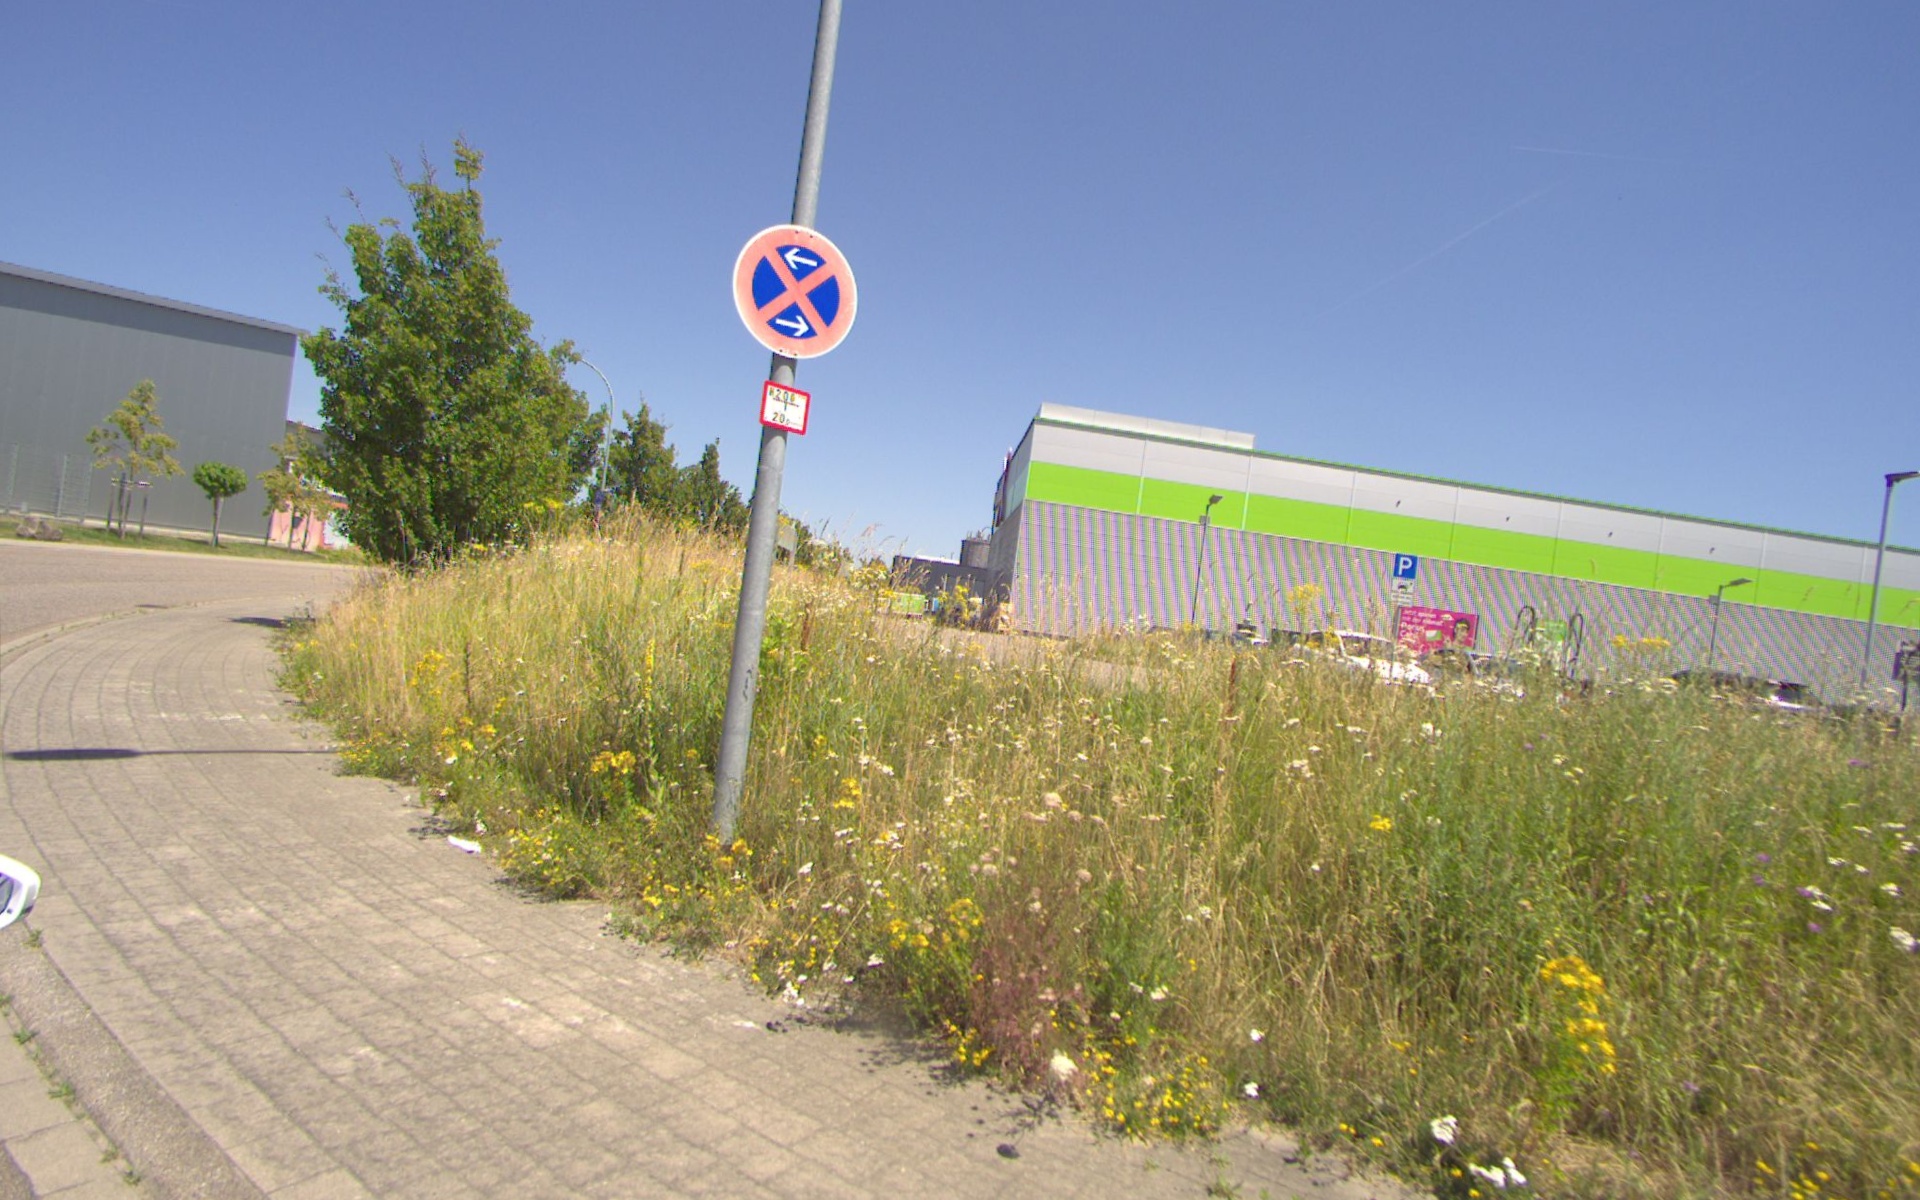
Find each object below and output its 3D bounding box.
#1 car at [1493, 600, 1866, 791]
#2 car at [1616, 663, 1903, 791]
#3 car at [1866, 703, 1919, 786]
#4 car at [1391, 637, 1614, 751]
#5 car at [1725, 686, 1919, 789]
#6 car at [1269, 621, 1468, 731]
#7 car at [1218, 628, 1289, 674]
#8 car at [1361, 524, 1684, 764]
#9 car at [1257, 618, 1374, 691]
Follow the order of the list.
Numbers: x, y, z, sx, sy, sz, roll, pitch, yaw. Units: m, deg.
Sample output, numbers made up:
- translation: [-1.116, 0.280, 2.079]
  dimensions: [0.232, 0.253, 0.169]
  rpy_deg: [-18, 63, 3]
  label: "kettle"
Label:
- translation: [10.205, 1.243, 14.817]
  dimensions: [1.919, 2.170, 4.400]
  rpy_deg: [7, -1, -4]
  label: "car"
- translation: [15.741, 2.408, 20.199]
  dimensions: [1.964, 1.889, 4.401]
  rpy_deg: [7, -1, -2]
  label: "car"
- translation: [22.995, 3.450, 22.088]
  dimensions: [1.964, 1.807, 4.401]
  rpy_deg: [7, -1, -2]
  label: "car"
- translation: [10.948, 1.822, 20.748]
  dimensions: [1.904, 1.807, 4.401]
  rpy_deg: [7, -1, -2]
  label: "car"
- translation: [20.297, 3.122, 22.998]
  dimensions: [1.964, 1.807, 4.401]
  rpy_deg: [7, -1, -2]
  label: "car"
- translation: [8.234, 1.458, 20.796]
  dimensions: [1.919, 1.807, 4.400]
  rpy_deg: [7, -1, -4]
  label: "car"
- translation: [14.733, 2.535, 50.840]
  dimensions: [1.964, 1.809, 4.397]
  rpy_deg: [7, 1, -2]
  label: "car"
- translation: [8.010, 0.622, 15.008]
  dimensions: [1.963, 2.775, 4.754]
  rpy_deg: [7, -1, 2]
  label: "car"
- translation: [11.665, 1.729, 33.386]
  dimensions: [1.964, 1.874, 4.397]
  rpy_deg: [7, 1, -2]
  label: "car"
